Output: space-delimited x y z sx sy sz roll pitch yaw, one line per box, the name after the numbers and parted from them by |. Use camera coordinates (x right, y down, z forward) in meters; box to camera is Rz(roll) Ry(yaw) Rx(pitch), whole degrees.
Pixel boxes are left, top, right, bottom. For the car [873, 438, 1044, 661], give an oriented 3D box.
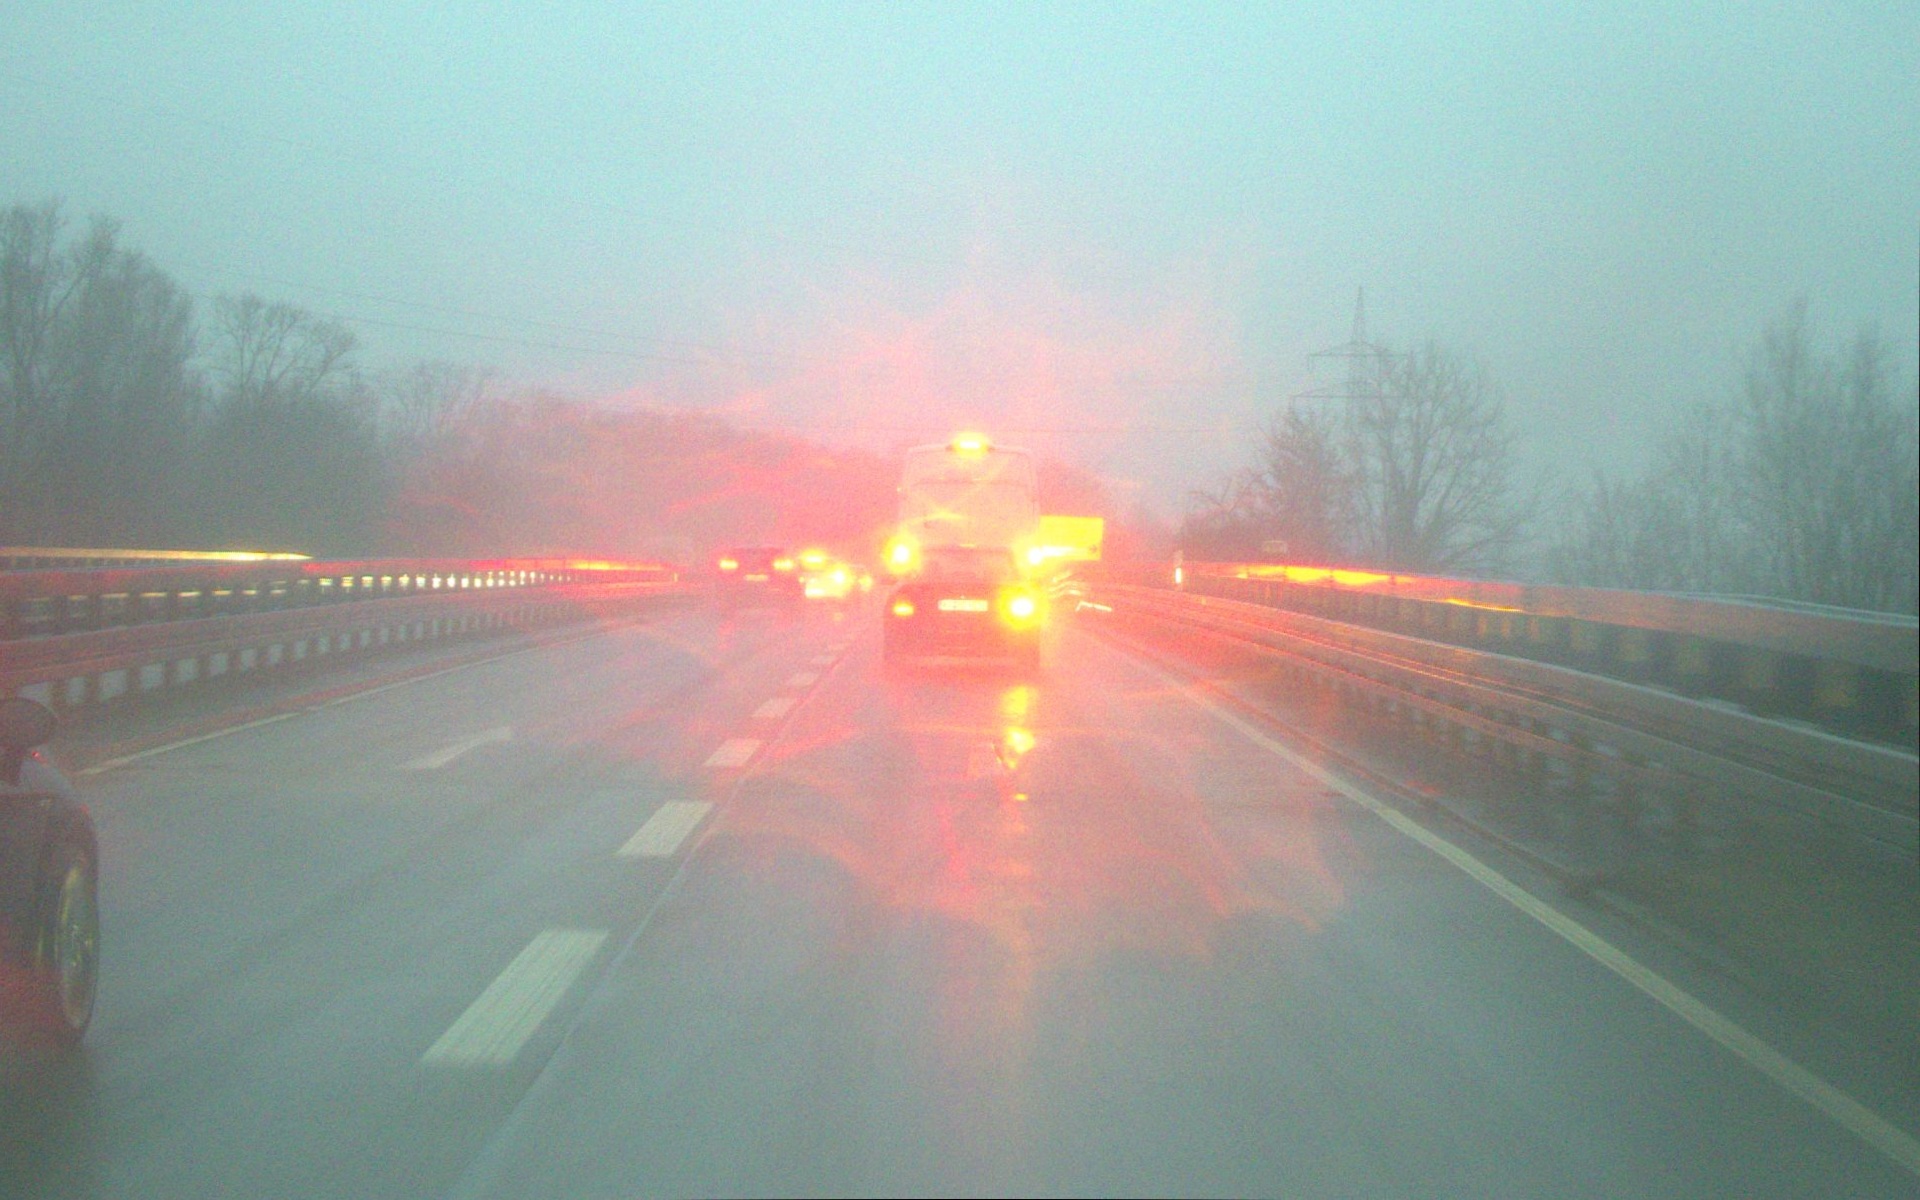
-0.039 -0.649 49.006 2.282 2.956 6.390 0 0 0 | car

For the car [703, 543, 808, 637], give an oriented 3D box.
-4.282 -0.228 72.534 1.993 1.808 4.000 3 1 -2 | car

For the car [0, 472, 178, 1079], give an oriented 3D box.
-3.281 0.432 8.464 1.730 1.527 4.042 1 -1 1 | car

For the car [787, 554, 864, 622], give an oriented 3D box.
-3.590 -0.332 91.956 1.993 1.708 4.001 0 2 -2 | car

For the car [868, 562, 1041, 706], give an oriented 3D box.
-0.023 0.338 38.070 1.736 1.410 4.377 3 0 1 | car
